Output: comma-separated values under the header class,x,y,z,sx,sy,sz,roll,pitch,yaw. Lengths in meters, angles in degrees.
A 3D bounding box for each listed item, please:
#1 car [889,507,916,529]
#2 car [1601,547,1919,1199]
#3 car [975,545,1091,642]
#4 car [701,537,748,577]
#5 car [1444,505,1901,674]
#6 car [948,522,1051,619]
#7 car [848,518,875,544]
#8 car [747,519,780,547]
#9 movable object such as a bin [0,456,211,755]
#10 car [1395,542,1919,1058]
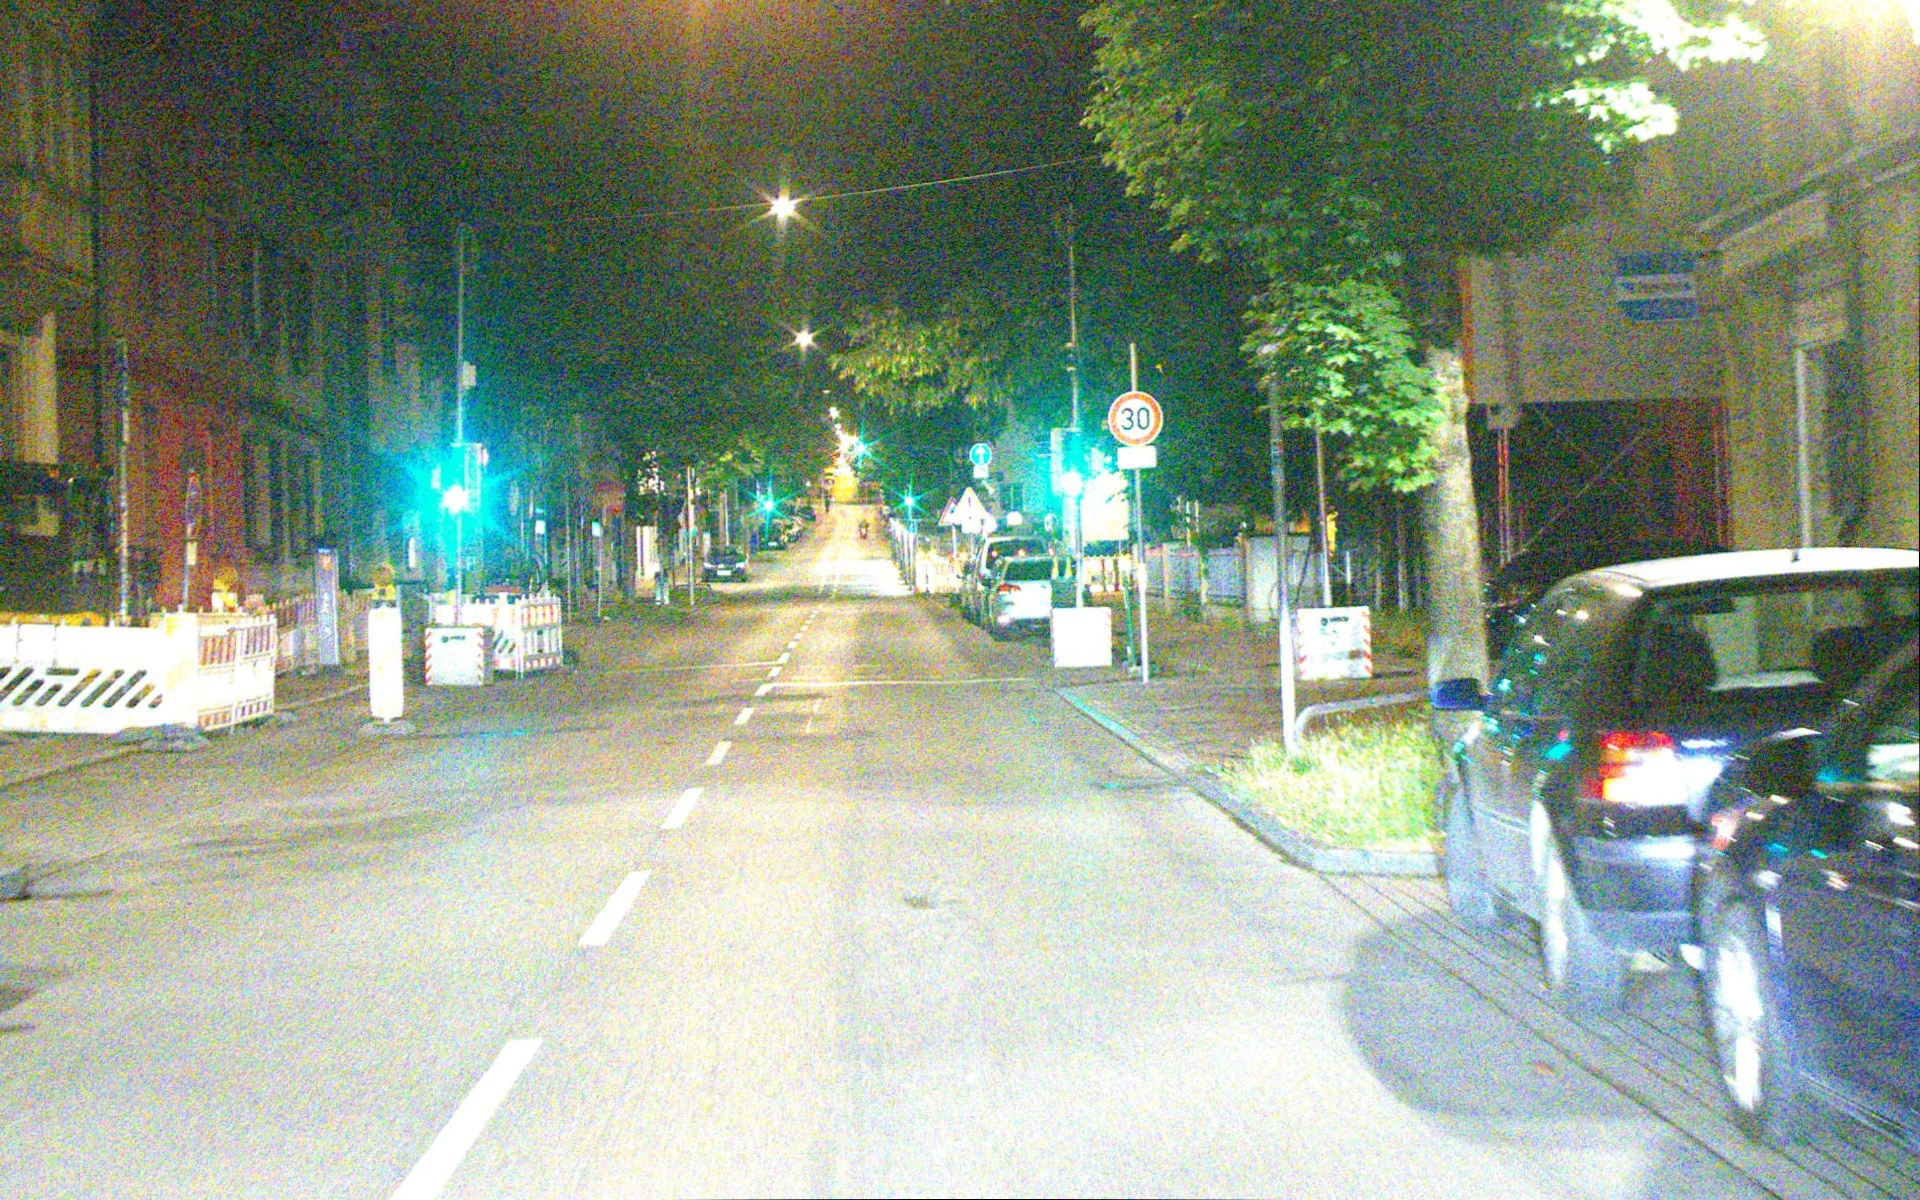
class,x,y,z,sx,sy,sz,roll,pitch,yaw
car,-4.385,-6.239,261.009,1.873,1.539,4.205,-2,2,-2
car,2.745,0.629,7.131,1.732,1.496,4.468,-3,1,-3
car,1.253,-0.147,60.272,1.739,1.472,4.000,-5,1,-1
car,-9.461,-1.740,138.423,1.671,1.438,4.205,-2,2,-2
car,6.996,-0.096,34.018,4.014,1.417,1.852,-3,-1,-3
car,0.781,-0.645,71.250,1.735,1.848,4.317,-3,1,-3
car,-7.318,-5.096,254.778,1.873,1.808,4.205,-2,2,-1
car,-12.029,-4.109,210.433,1.873,1.539,4.205,-2,2,-2
movable object such as a bin,-8.416,0.027,32.816,1.571,2.617,3.910,-3,1,-1
car,2.695,0.566,12.274,1.736,1.449,4.000,-3,1,1
